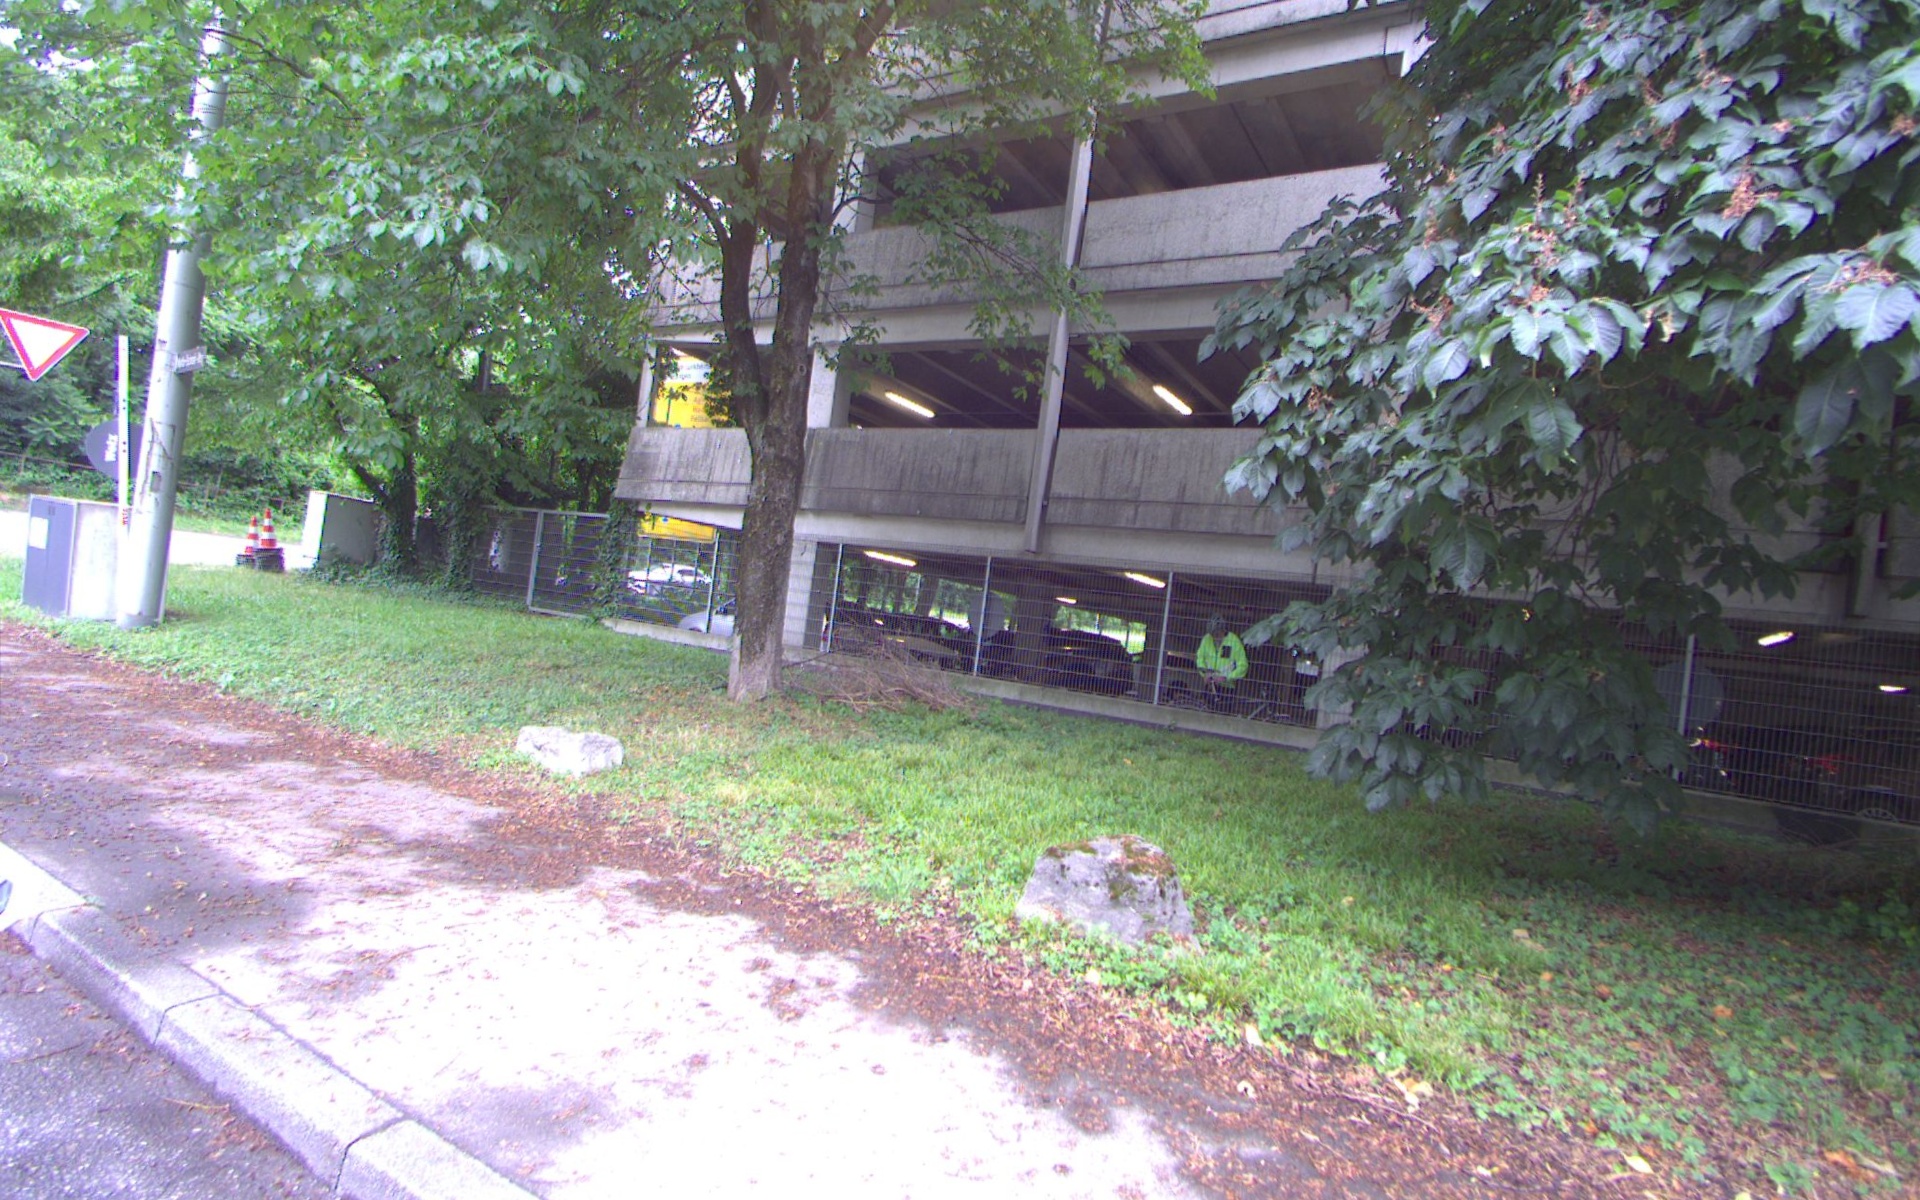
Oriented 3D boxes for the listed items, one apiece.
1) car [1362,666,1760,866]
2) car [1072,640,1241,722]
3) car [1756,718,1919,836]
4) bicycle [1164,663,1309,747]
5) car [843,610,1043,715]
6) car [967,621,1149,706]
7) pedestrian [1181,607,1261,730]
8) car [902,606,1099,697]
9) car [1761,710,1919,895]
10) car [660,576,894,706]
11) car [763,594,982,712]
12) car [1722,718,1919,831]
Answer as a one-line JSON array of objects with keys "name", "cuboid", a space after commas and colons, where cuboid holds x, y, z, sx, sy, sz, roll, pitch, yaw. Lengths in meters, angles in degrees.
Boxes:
[{"name": "car", "cuboid": [8.619, 2.298, 14.832, 4.597, 2.036, 1.998, 5, -3, 31]}, {"name": "car", "cuboid": [6.139, 2.526, 31.549, 4.658, 1.855, 1.923, 6, -3, 33]}, {"name": "car", "cuboid": [15.609, 2.999, 16.511, 3.640, 1.625, 1.721, 5, -3, 30]}, {"name": "bicycle", "cuboid": [3.117, 1.172, 11.375, 1.469, 0.744, 0.448, 6, -3, 24]}, {"name": "car", "cuboid": [-0.374, 1.286, 20.877, 3.658, 1.682, 1.734, 5, -3, 32]}, {"name": "car", "cuboid": [2.435, 1.578, 25.150, 3.934, 1.569, 1.998, 5, -3, 32]}, {"name": "pedestrian", "cuboid": [3.041, 0.806, 11.696, 0.626, 1.332, 0.642, 5, -3, 31]}, {"name": "car", "cuboid": [0.924, 1.184, 23.214, 3.934, 1.569, 1.998, 5, -3, 32]}, {"name": "car", "cuboid": [12.669, 2.664, 12.463, 3.935, 2.036, 1.997, 5, -3, 33]}, {"name": "car", "cuboid": [-3.114, 0.663, 16.895, 3.658, 1.727, 1.484, 5, -3, 32]}, {"name": "car", "cuboid": [-1.667, 0.978, 18.821, 3.707, 1.727, 1.584, 5, -3, 32]}, {"name": "car", "cuboid": [16.599, 3.251, 18.646, 3.640, 1.625, 1.721, 5, -3, 30]}]
